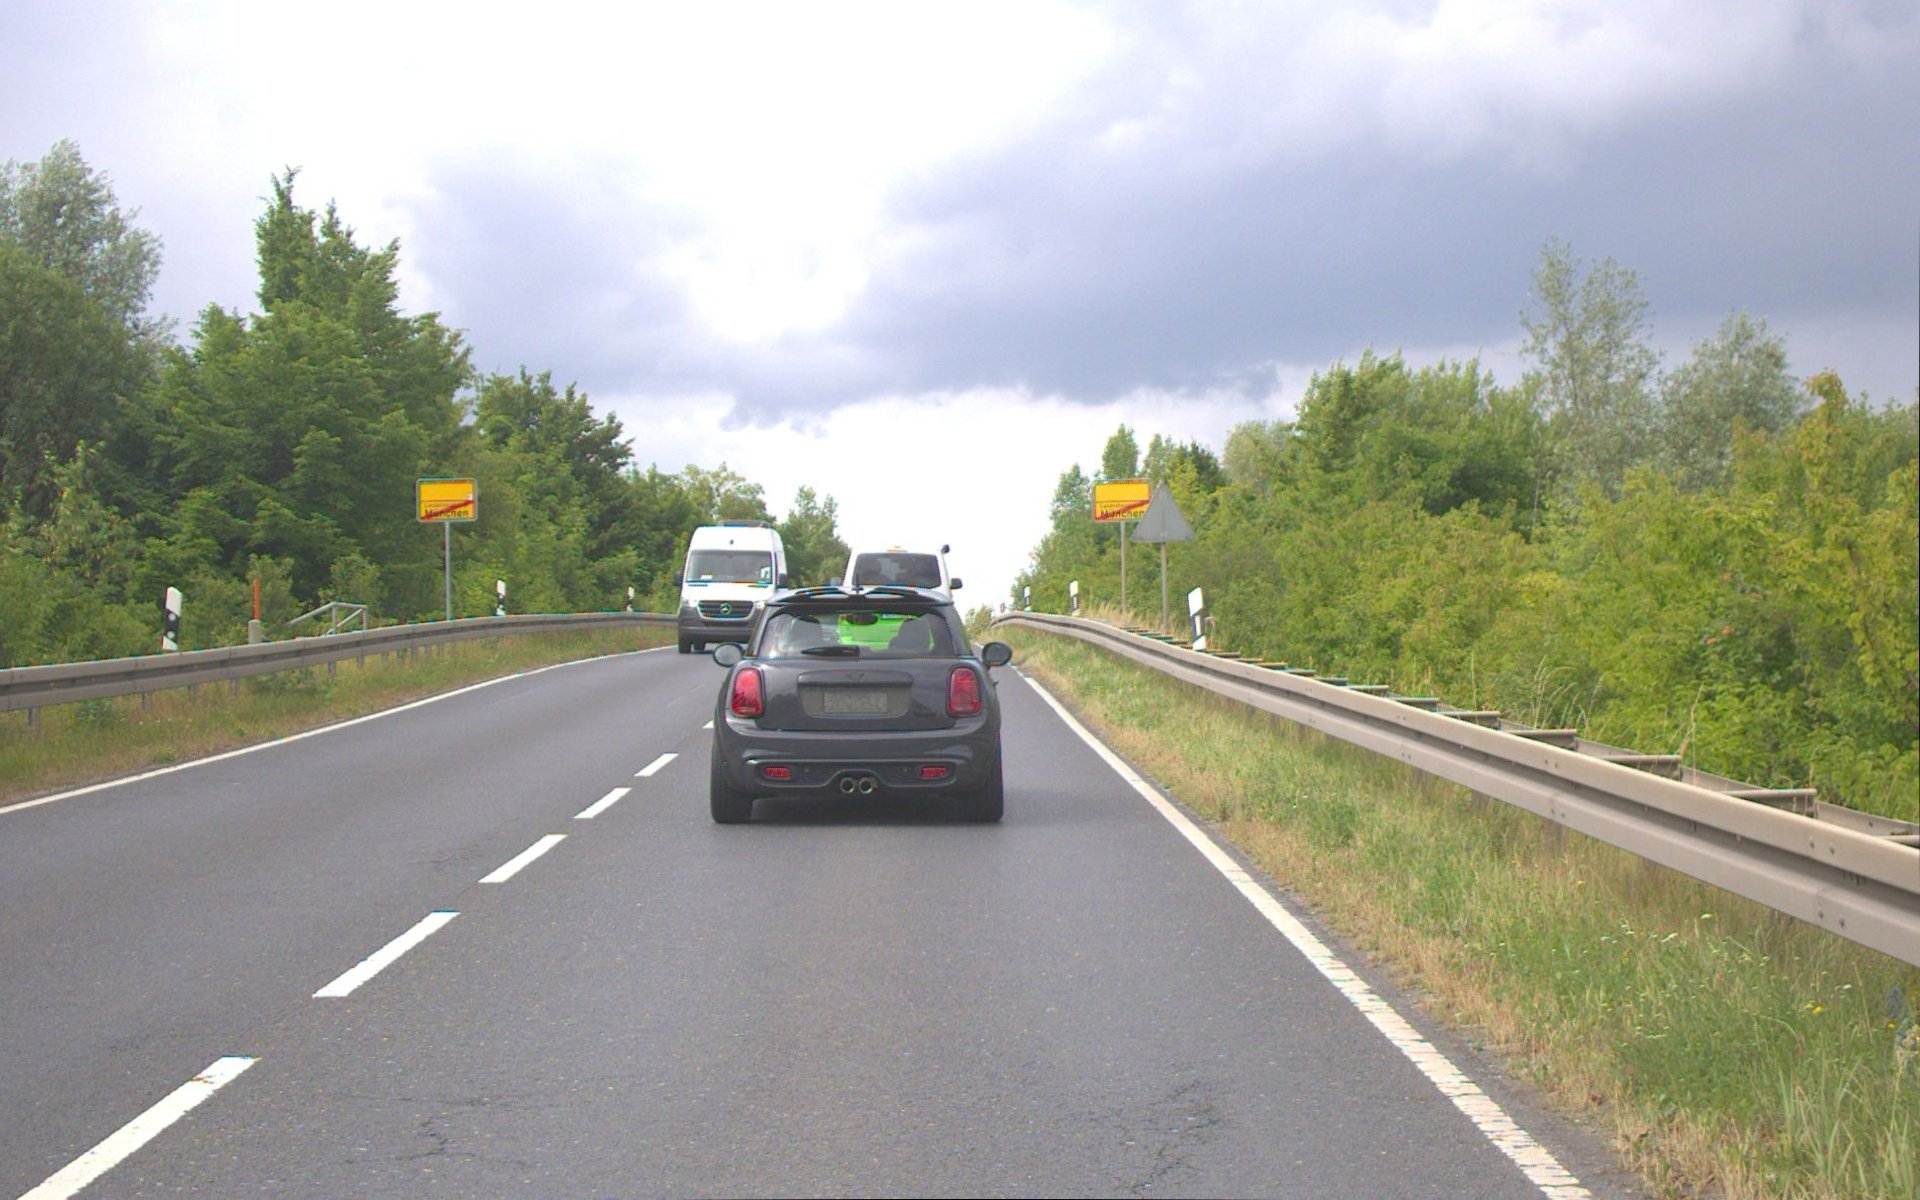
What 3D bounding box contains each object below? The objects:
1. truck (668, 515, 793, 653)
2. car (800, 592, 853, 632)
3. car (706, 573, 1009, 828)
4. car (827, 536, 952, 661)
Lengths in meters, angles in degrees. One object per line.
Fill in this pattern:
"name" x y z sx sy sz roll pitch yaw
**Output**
"truck" -4.725 -0.372 71.709 2.065 2.733 7.007 0 1 1
"car" -5.133 0.475 132.421 1.835 1.415 4.000 1 -2 0
"car" -0.639 0.568 21.832 1.732 1.451 4.000 1 0 -1
"car" -1.158 -0.035 57.388 2.022 2.006 4.000 0 0 -1
